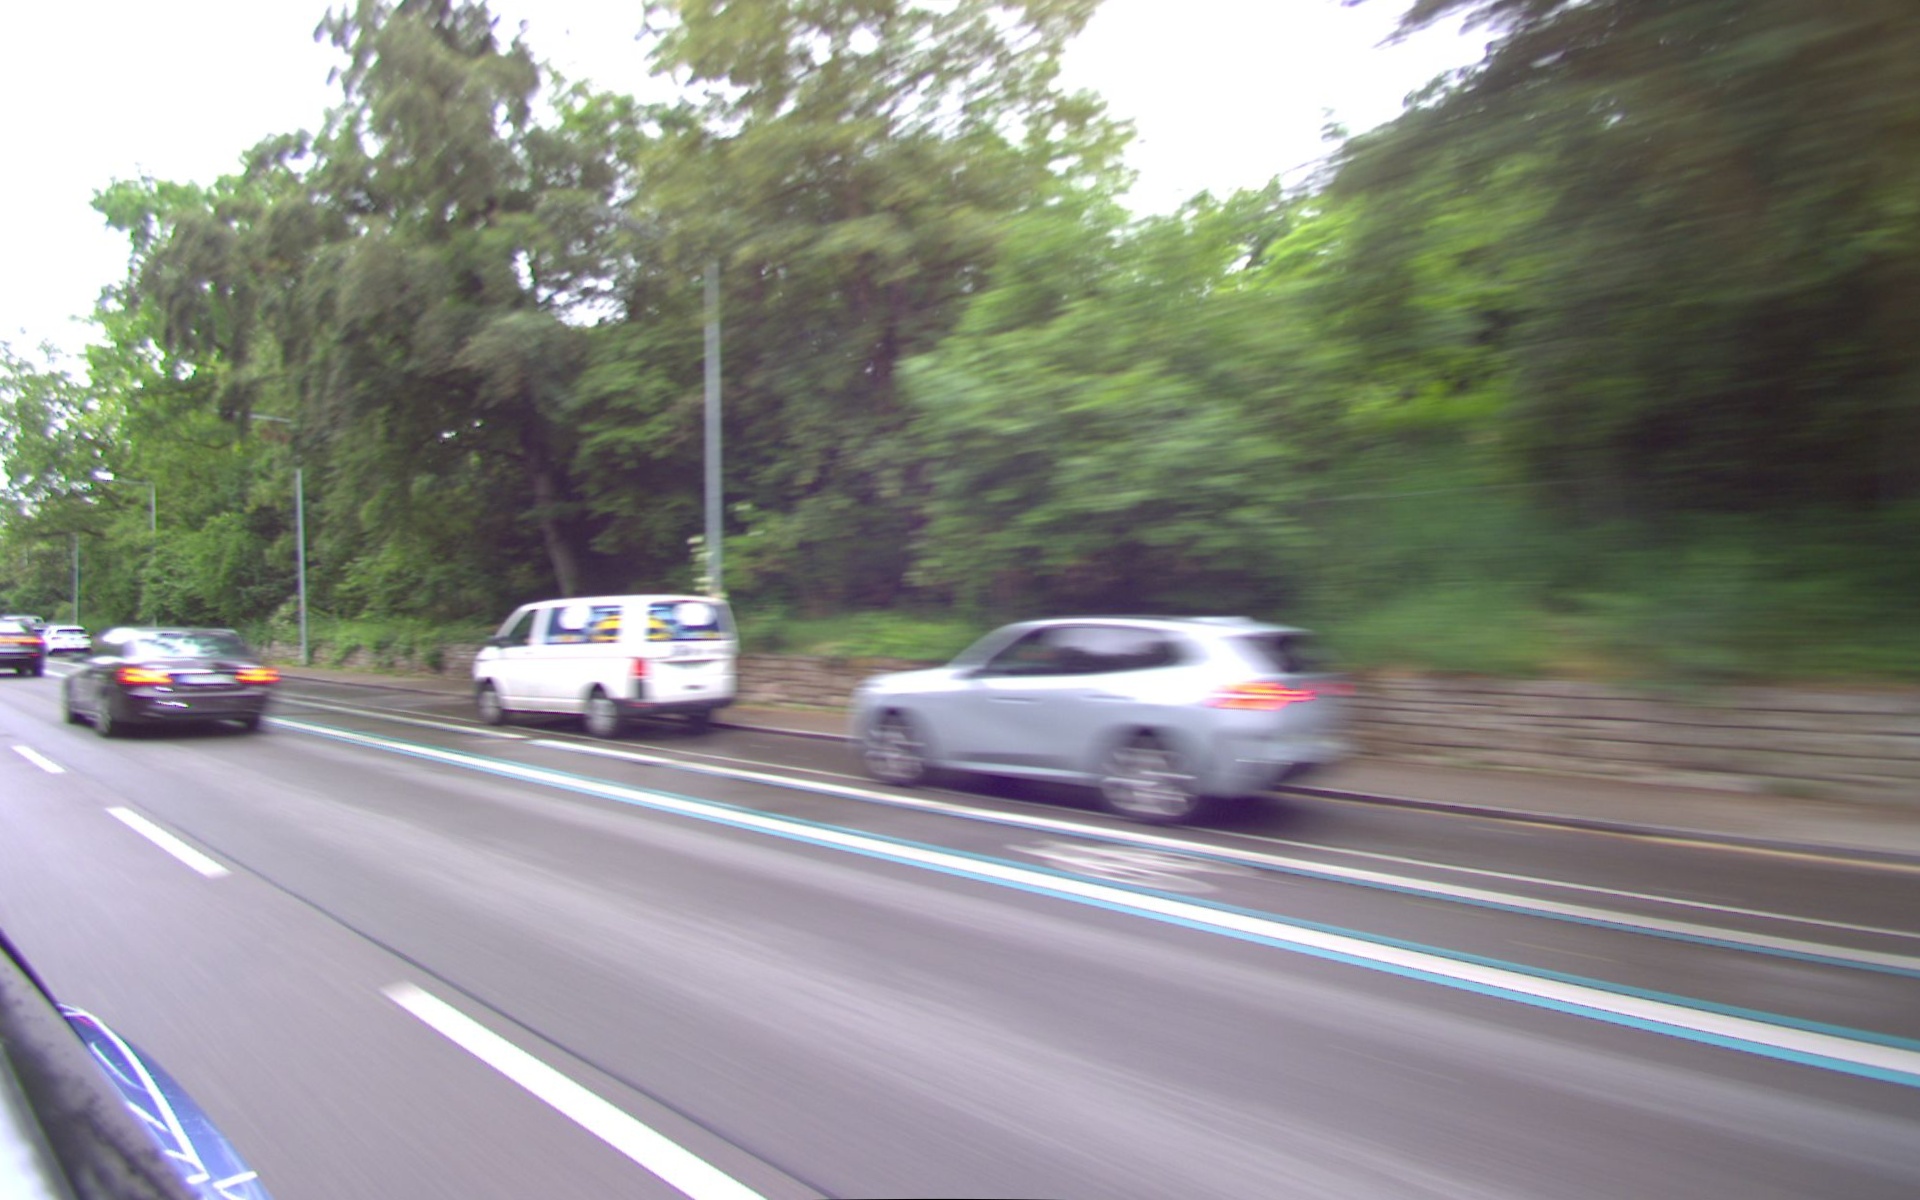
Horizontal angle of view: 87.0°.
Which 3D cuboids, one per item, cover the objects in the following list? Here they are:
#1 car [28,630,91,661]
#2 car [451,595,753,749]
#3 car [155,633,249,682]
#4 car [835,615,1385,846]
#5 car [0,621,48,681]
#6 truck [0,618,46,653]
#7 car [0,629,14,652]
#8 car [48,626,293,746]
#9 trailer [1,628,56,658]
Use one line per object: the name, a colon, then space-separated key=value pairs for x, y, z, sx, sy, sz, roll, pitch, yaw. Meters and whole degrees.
car: x=-45.111 y=2.267 z=50.688 sx=4.353 sy=1.446 sz=1.736 roll=-2 pitch=-3 yaw=40
car: x=-5.622 y=1.005 z=15.564 sx=5.010 sy=2.020 sz=1.955 roll=-2 pitch=-1 yaw=37
car: x=-24.113 y=1.777 z=32.149 sx=4.026 sy=1.416 sz=1.672 roll=-2 pitch=-1 yaw=42
car: x=1.169 y=1.004 z=9.456 sx=4.777 sy=1.618 sz=1.989 roll=-2 pitch=-3 yaw=41
car: x=-28.168 y=1.452 z=29.366 sx=4.463 sy=1.629 sz=1.940 roll=-2 pitch=-4 yaw=41
truck: x=-58.089 y=2.177 z=62.152 sx=5.152 sy=2.029 sz=2.073 roll=-2 pitch=-2 yaw=38
car: x=-65.766 y=2.731 z=68.664 sx=4.751 sy=1.509 sz=1.787 roll=-1 pitch=-2 yaw=41
car: x=-11.464 y=1.138 z=14.579 sx=4.618 sy=1.468 sz=1.895 roll=-2 pitch=-4 yaw=41
trailer: x=-53.983 y=2.473 z=58.684 sx=1.329 sy=1.670 sz=2.271 roll=0 pitch=-2 yaw=-11
